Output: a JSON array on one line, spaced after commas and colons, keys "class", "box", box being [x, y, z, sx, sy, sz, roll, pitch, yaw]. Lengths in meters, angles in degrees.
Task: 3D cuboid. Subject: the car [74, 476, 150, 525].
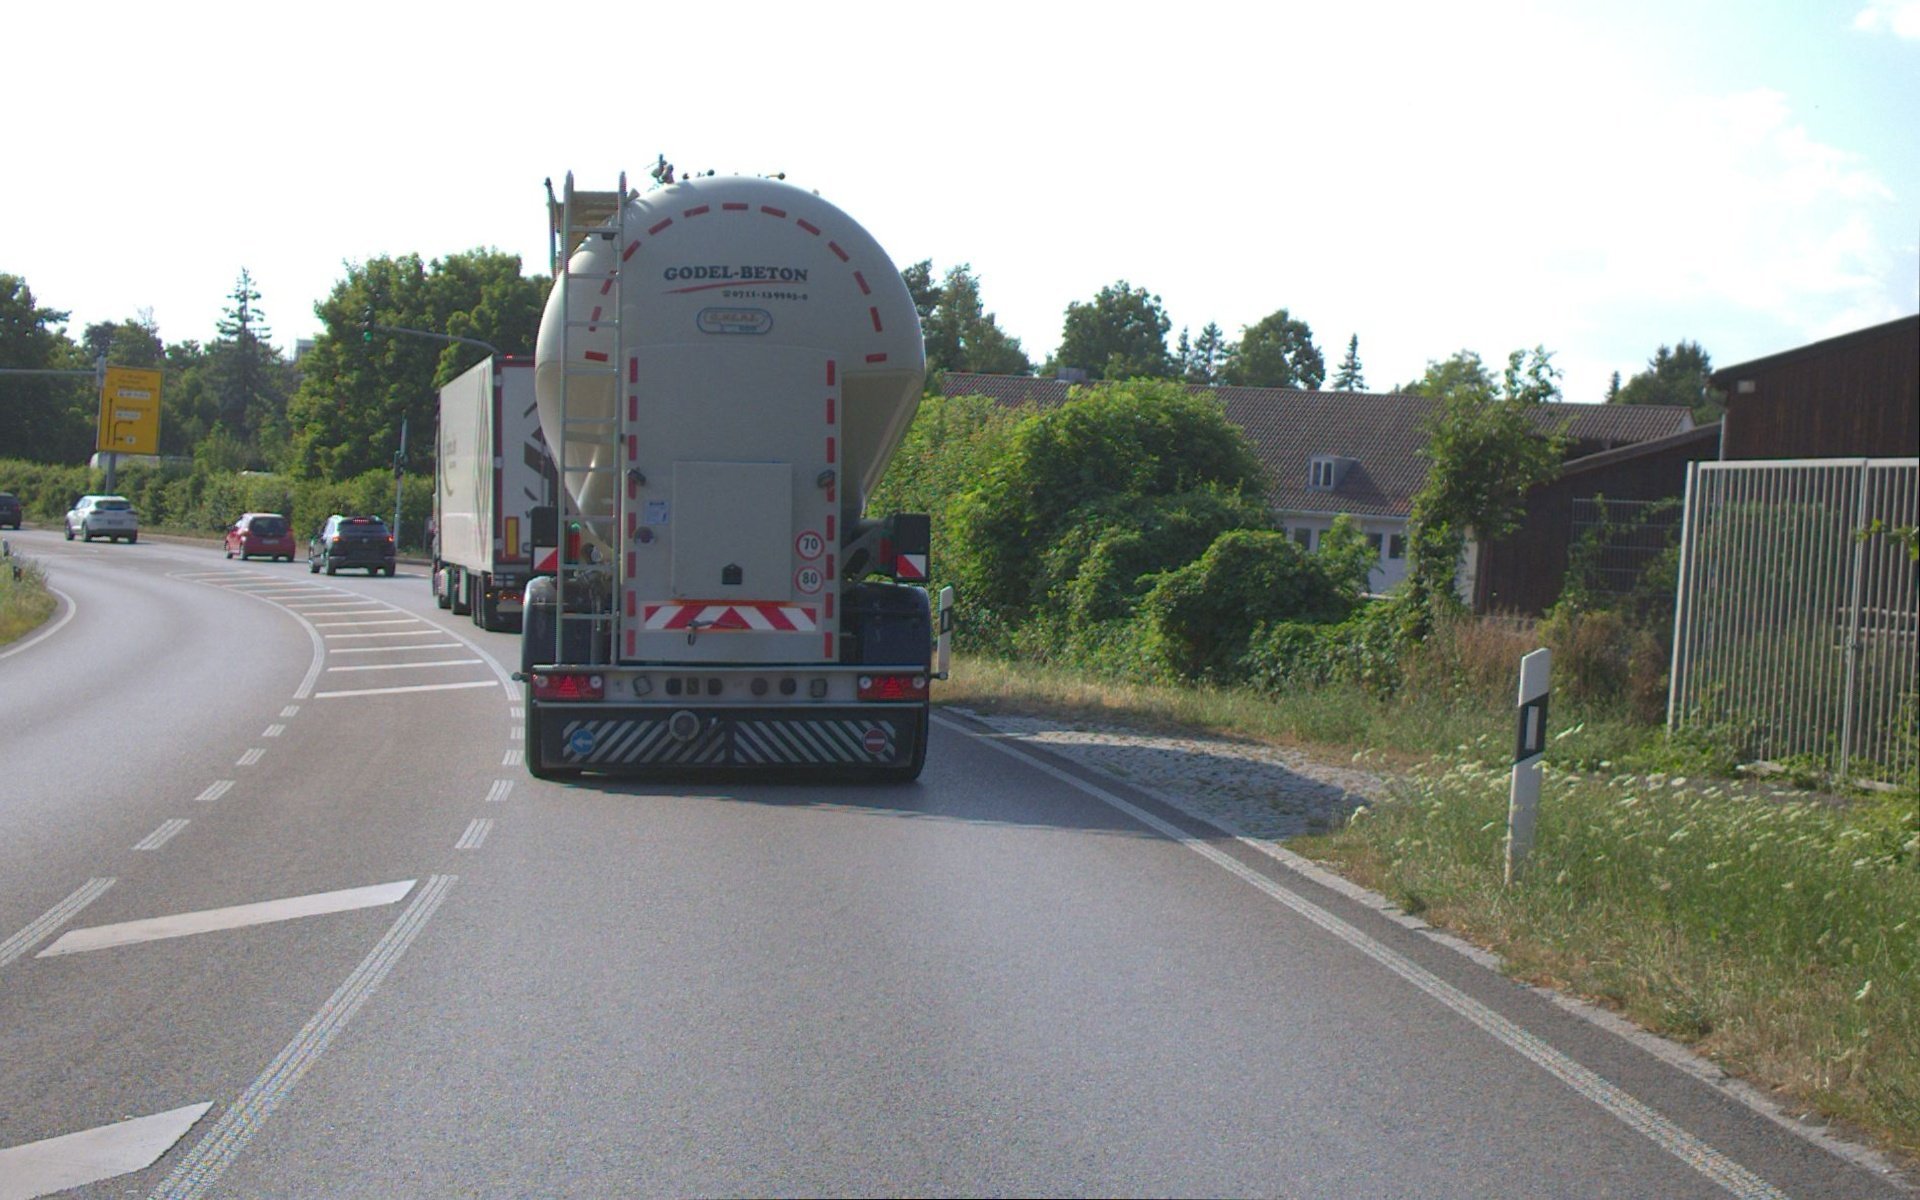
[{"class": "car", "box": [-30.577, -3.574, 123.933, 1.841, 1.650, 4.001, 1, 0, -26]}]

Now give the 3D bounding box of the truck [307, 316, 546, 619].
[{"class": "truck", "box": [-9.308, -2.191, 59.396, 2.962, 4.870, 6.432, 1, 0, -18]}]

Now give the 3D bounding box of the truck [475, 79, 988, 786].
[{"class": "truck", "box": [-1.968, -1.039, 26.453, 2.975, 4.161, 11.664, 1, 0, -6]}]

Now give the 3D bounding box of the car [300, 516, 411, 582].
[{"class": "car", "box": [-15.876, -1.338, 90.182, 1.993, 1.650, 4.001, 1, 0, -23]}]

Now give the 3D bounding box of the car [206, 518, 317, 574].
[{"class": "car", "box": [-21.598, -1.670, 106.174, 2.299, 1.650, 4.416, 1, 0, -26]}]

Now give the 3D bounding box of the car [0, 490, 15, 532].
[{"class": "car", "box": [-39.660, -3.649, 140.337, 1.519, 1.650, 3.873, 1, 0, -24]}]

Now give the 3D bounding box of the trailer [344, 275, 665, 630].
[{"class": "trailer", "box": [-7.227, -2.105, 52.972, 2.963, 4.865, 10.291, 1, 0, -18]}]
